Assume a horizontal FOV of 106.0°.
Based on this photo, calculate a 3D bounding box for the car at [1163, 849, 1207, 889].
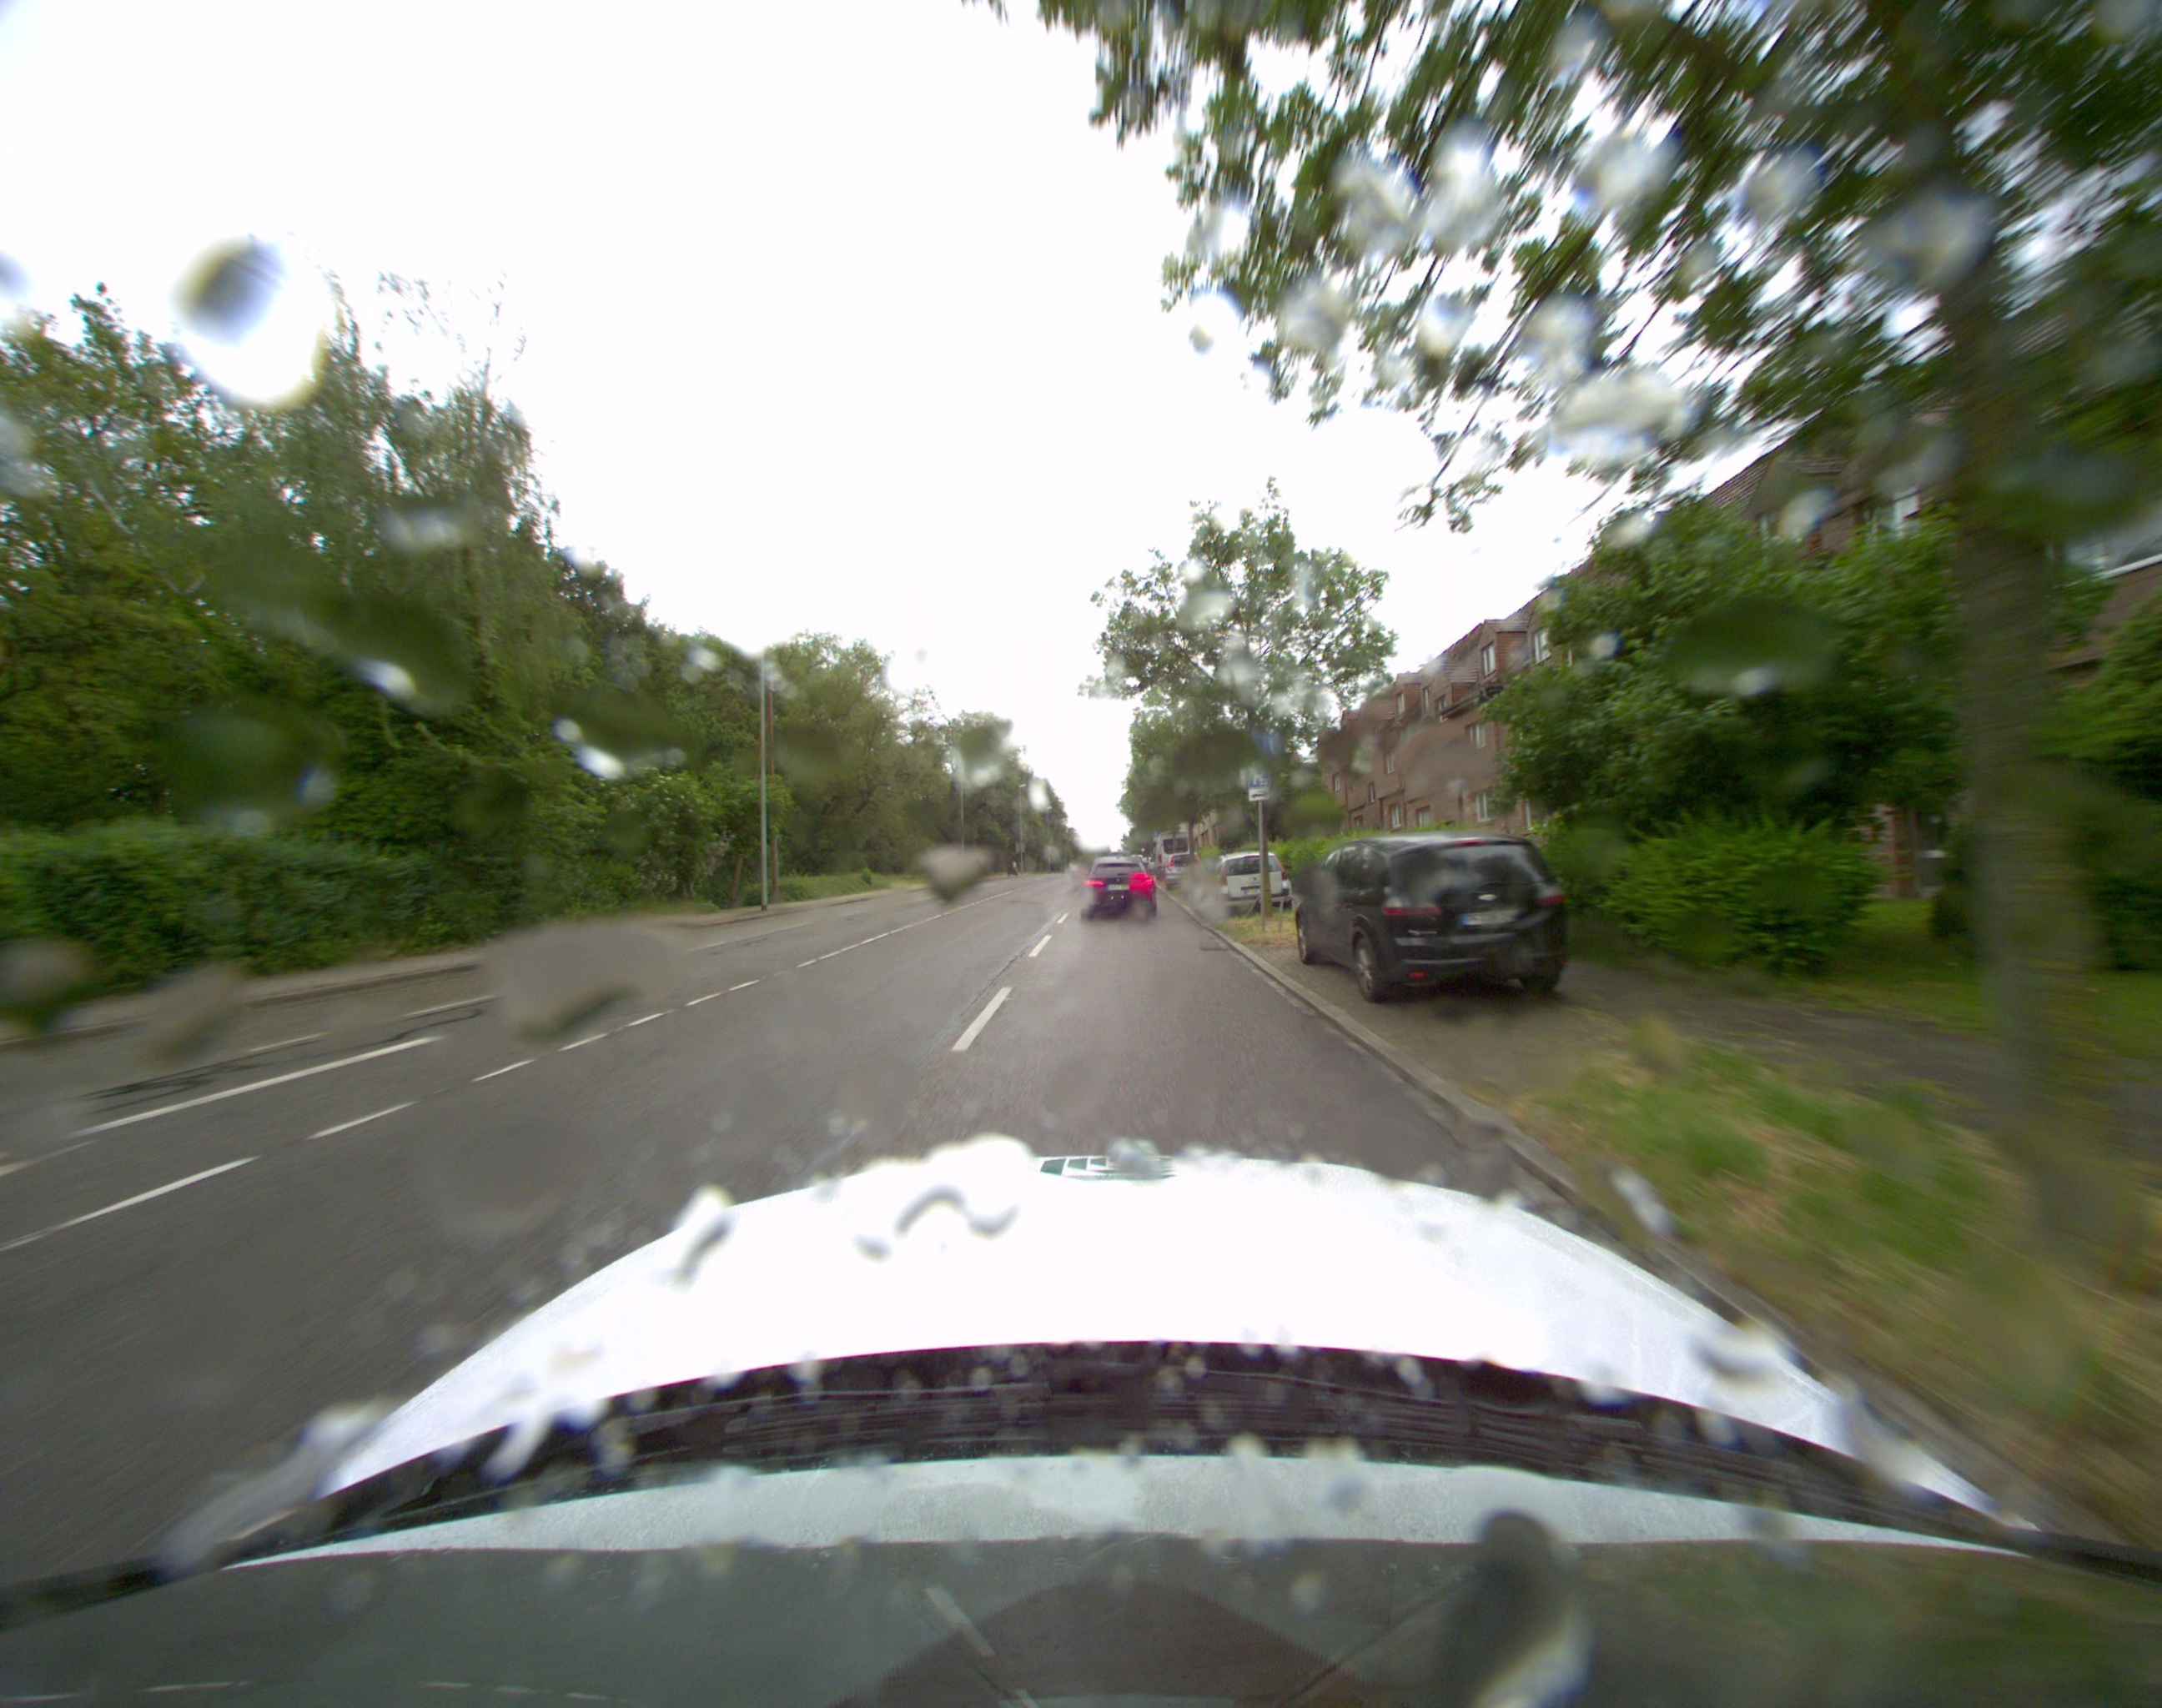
[{"bbox_3d":[4.484,0.624,35.461,1.660,1.528,3.837,-5,-1,5],"label":"car"}]

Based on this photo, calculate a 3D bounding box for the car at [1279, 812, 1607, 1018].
[{"bbox_3d":[3.695,0.528,9.366,1.817,1.677,4.587,-4,0,2],"label":"car"}]

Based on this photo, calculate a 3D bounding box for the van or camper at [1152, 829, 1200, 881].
[{"bbox_3d":[5.384,0.047,47.028,2.188,2.651,7.308,-4,0,4],"label":"van or camper"}]

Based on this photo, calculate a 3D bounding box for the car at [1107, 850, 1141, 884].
[{"bbox_3d":[2.749,0.842,51.593,1.985,2.014,4.003,-1,-1,3],"label":"car"}]

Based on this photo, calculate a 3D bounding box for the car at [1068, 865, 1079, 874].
[{"bbox_3d":[-1.386,2.841,146.930,1.683,1.483,4.452,-4,-1,1],"label":"car"}]

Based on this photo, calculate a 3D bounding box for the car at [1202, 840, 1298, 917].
[{"bbox_3d":[4.062,0.546,20.283,1.815,1.602,4.481,-4,0,6],"label":"car"}]

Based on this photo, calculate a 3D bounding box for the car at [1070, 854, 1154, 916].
[{"bbox_3d":[0.797,0.768,21.397,1.986,1.453,4.001,1,-1,2],"label":"car"}]

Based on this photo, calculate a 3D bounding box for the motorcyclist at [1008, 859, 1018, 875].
[{"bbox_3d":[-7.149,1.371,85.329,0.643,1.681,0.818,-1,0,45],"label":"motorcyclist"}]

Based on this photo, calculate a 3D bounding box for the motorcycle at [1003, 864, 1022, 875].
[{"bbox_3d":[-7.196,1.667,85.361,2.162,1.118,0.829,-1,0,44],"label":"motorcycle"}]

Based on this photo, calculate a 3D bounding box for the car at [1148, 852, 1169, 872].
[{"bbox_3d":[7.087,0.695,74.994,1.694,1.584,4.648,-5,0,4],"label":"car"}]
